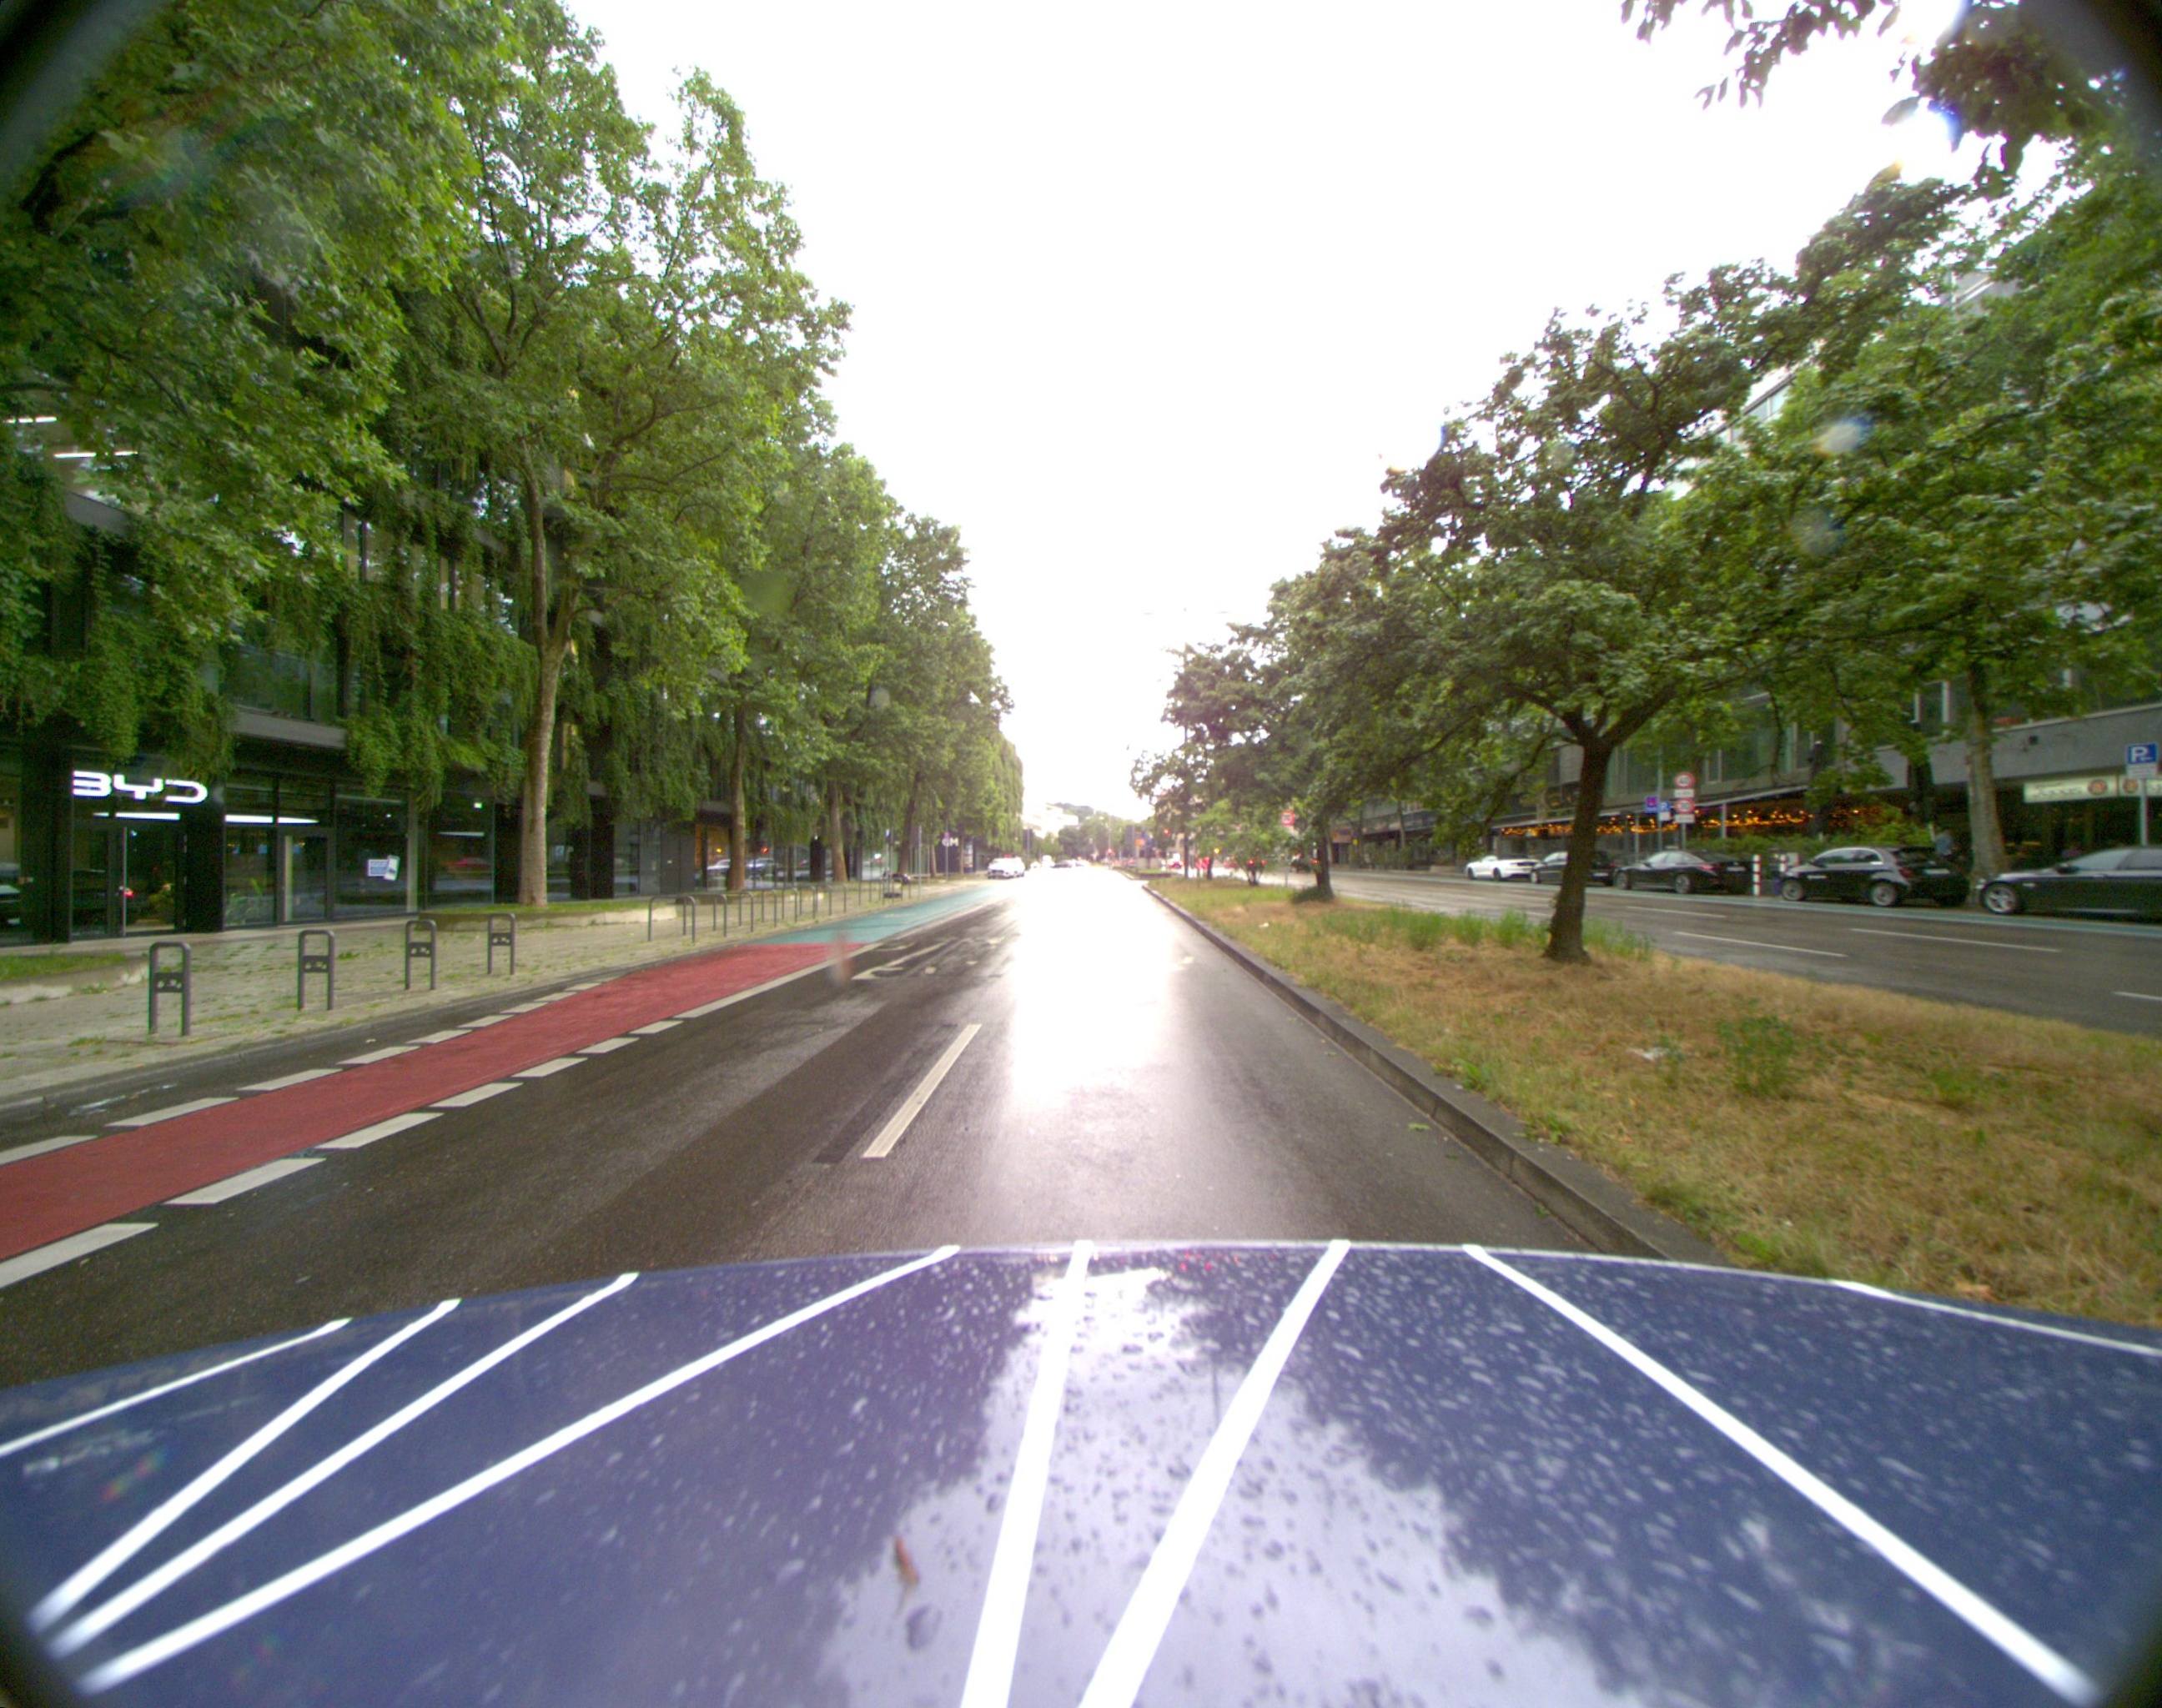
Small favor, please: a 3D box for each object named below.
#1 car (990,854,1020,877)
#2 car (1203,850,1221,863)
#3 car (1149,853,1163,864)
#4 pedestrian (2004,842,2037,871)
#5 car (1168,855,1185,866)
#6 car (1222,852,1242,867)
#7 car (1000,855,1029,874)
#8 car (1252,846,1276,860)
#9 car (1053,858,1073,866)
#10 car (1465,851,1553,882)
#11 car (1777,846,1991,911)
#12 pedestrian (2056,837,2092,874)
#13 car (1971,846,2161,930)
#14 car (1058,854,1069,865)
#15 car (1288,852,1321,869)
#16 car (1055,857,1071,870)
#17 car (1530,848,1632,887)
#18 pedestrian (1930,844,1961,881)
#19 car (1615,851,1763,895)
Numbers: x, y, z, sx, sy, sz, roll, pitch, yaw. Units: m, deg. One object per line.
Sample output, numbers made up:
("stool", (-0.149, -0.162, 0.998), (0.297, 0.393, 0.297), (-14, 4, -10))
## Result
("car", (-6.409, 0.961, 64.325), (1.932, 1.726, 4.598), (-2, 1, 0))
("car", (19.873, 0.423, 115.719), (1.998, 1.805, 3.999), (-2, 1, 0))
("car", (11.811, 0.677, 119.594), (1.881, 1.567, 3.820), (-2, 1, 3))
("pedestrian", (27.930, 0.075, 22.594), (0.440, 0.845, 0.433), (-2, 1, -1))
("car", (13.034, 0.872, 103.641), (1.678, 1.381, 3.527), (-2, 1, -2))
("car", (19.526, 0.694, 98.430), (1.938, 1.776, 3.955), (-2, 1, 2))
("car", (-6.101, 0.926, 70.398), (2.036, 1.553, 4.585), (-2, 1, 2))
("car", (20.054, -0.144, 83.455), (1.868, 1.408, 4.105), (-2, 1, 4))
("car", (-3.405, 1.587, 146.314), (3.452, 1.450, 1.652), (-2, 1, 24))
("car", (20.739, 0.554, 37.053), (1.881, 1.318, 4.392), (-2, 1, 2))
("car", (20.091, 0.550, 19.243), (1.875, 1.414, 3.400), (-2, 1, 2))
("pedestrian", (27.743, 0.031, 21.228), (0.464, 1.010, 0.424), (-2, 1, -1))
("car", (19.873, 0.600, 13.983), (1.875, 1.377, 4.537), (-2, 1, 5))
("car", (-2.728, 0.835, 120.314), (1.556, 1.534, 3.663), (-2, 1, 1))
("car", (18.788, 0.542, 64.054), (1.765, 1.318, 3.738), (-2, 1, 2))
("car", (-2.211, 1.180, 95.404), (1.780, 1.546, 3.929), (-2, 1, 1))
("car", (20.457, 0.504, 31.273), (1.750, 1.445, 3.788), (-2, 1, 2))
("pedestrian", (27.695, 0.266, 24.336), (0.445, 1.179, 0.467), (-2, 1, 2))
("car", (20.163, 0.592, 25.460), (1.647, 1.232, 4.319), (-2, 1, 3))
